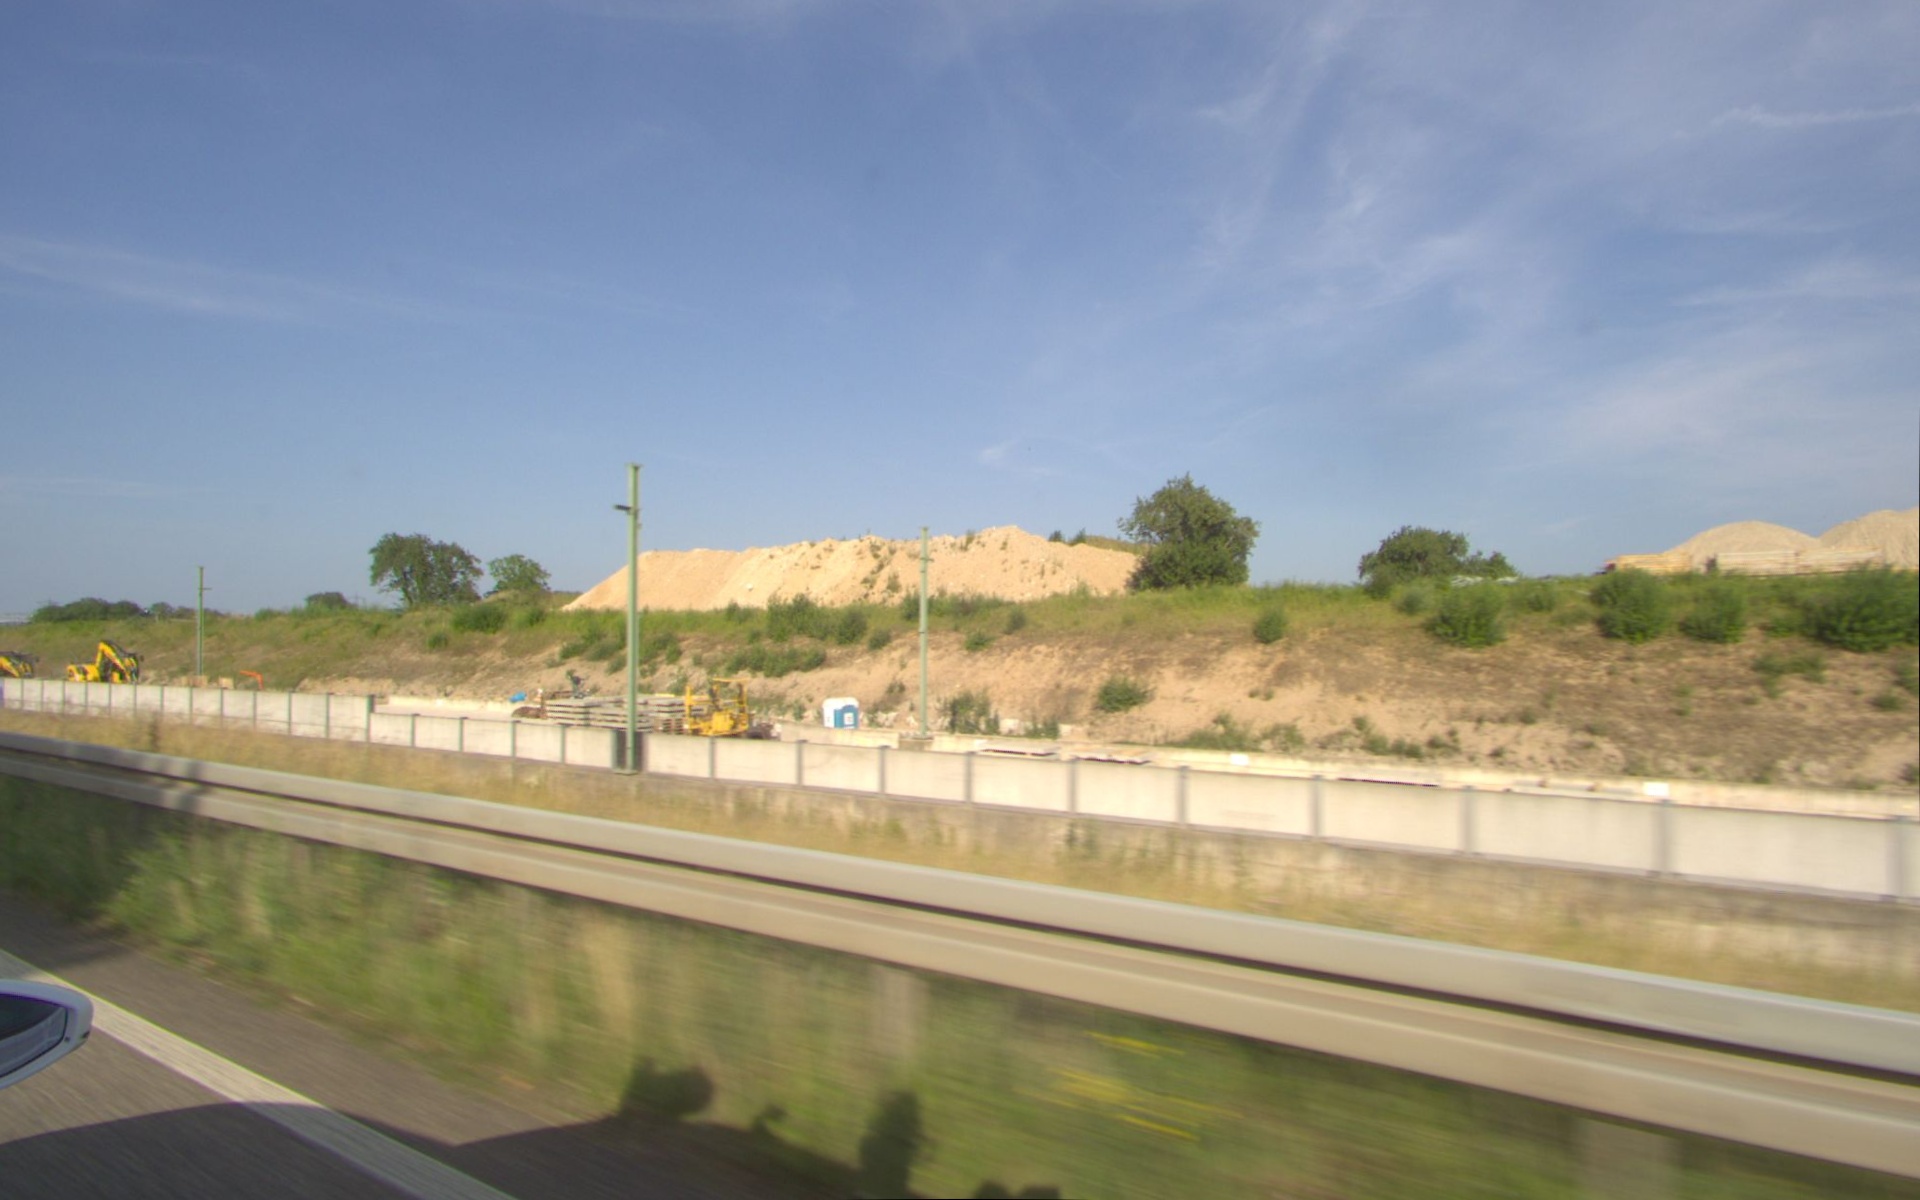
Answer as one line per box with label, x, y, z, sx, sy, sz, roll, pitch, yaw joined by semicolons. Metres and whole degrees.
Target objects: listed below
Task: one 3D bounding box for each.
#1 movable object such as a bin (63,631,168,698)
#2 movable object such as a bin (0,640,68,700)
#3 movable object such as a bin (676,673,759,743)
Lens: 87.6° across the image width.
movable object such as a bin;-52.776;3.908;62.557;7.428;3.936;2.792;-1;-1;31
movable object such as a bin;-56.109;4.047;59.356;7.955;3.281;2.618;-1;-1;31
movable object such as a bin;-10.158;4.465;41.965;2.874;2.695;2.007;1;-1;-33
